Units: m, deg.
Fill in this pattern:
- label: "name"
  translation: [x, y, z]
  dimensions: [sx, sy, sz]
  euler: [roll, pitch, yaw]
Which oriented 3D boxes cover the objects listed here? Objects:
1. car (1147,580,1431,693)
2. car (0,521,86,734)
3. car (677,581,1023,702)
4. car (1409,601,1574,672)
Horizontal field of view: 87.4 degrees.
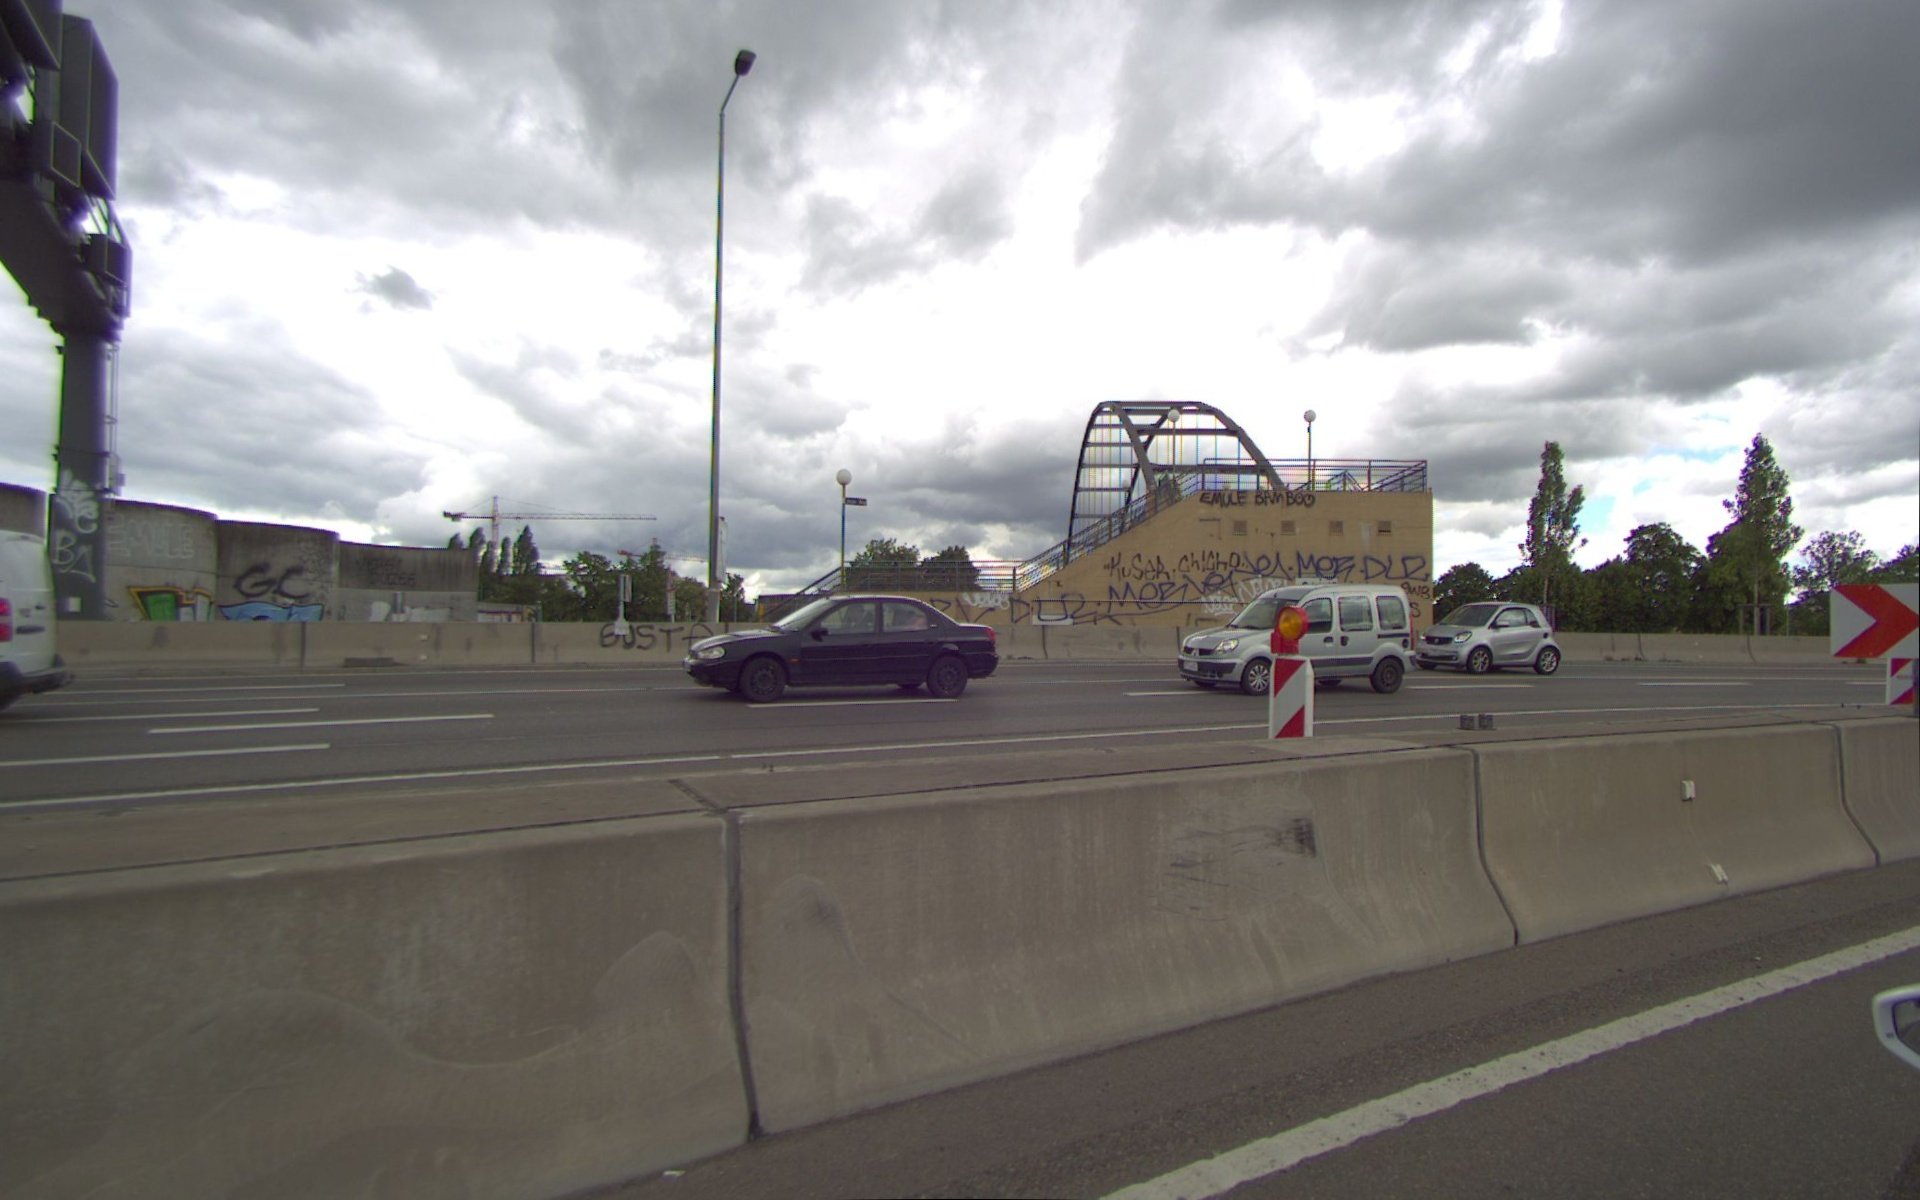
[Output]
- label: "car"
  translation: [5.491, 0.606, 16.879]
  dimensions: [4.193, 1.708, 1.992]
  euler: [1, -1, -19]
- label: "car"
  translation: [-11.498, 0.202, 9.065]
  dimensions: [5.044, 1.977, 2.227]
  euler: [2, -1, -30]
- label: "car"
  translation: [-1.565, 0.575, 14.344]
  dimensions: [4.524, 1.508, 1.988]
  euler: [1, -1, -24]
- label: "car"
  translation: [11.778, 0.808, 22.320]
  dimensions: [2.891, 1.495, 1.626]
  euler: [1, -1, -15]
